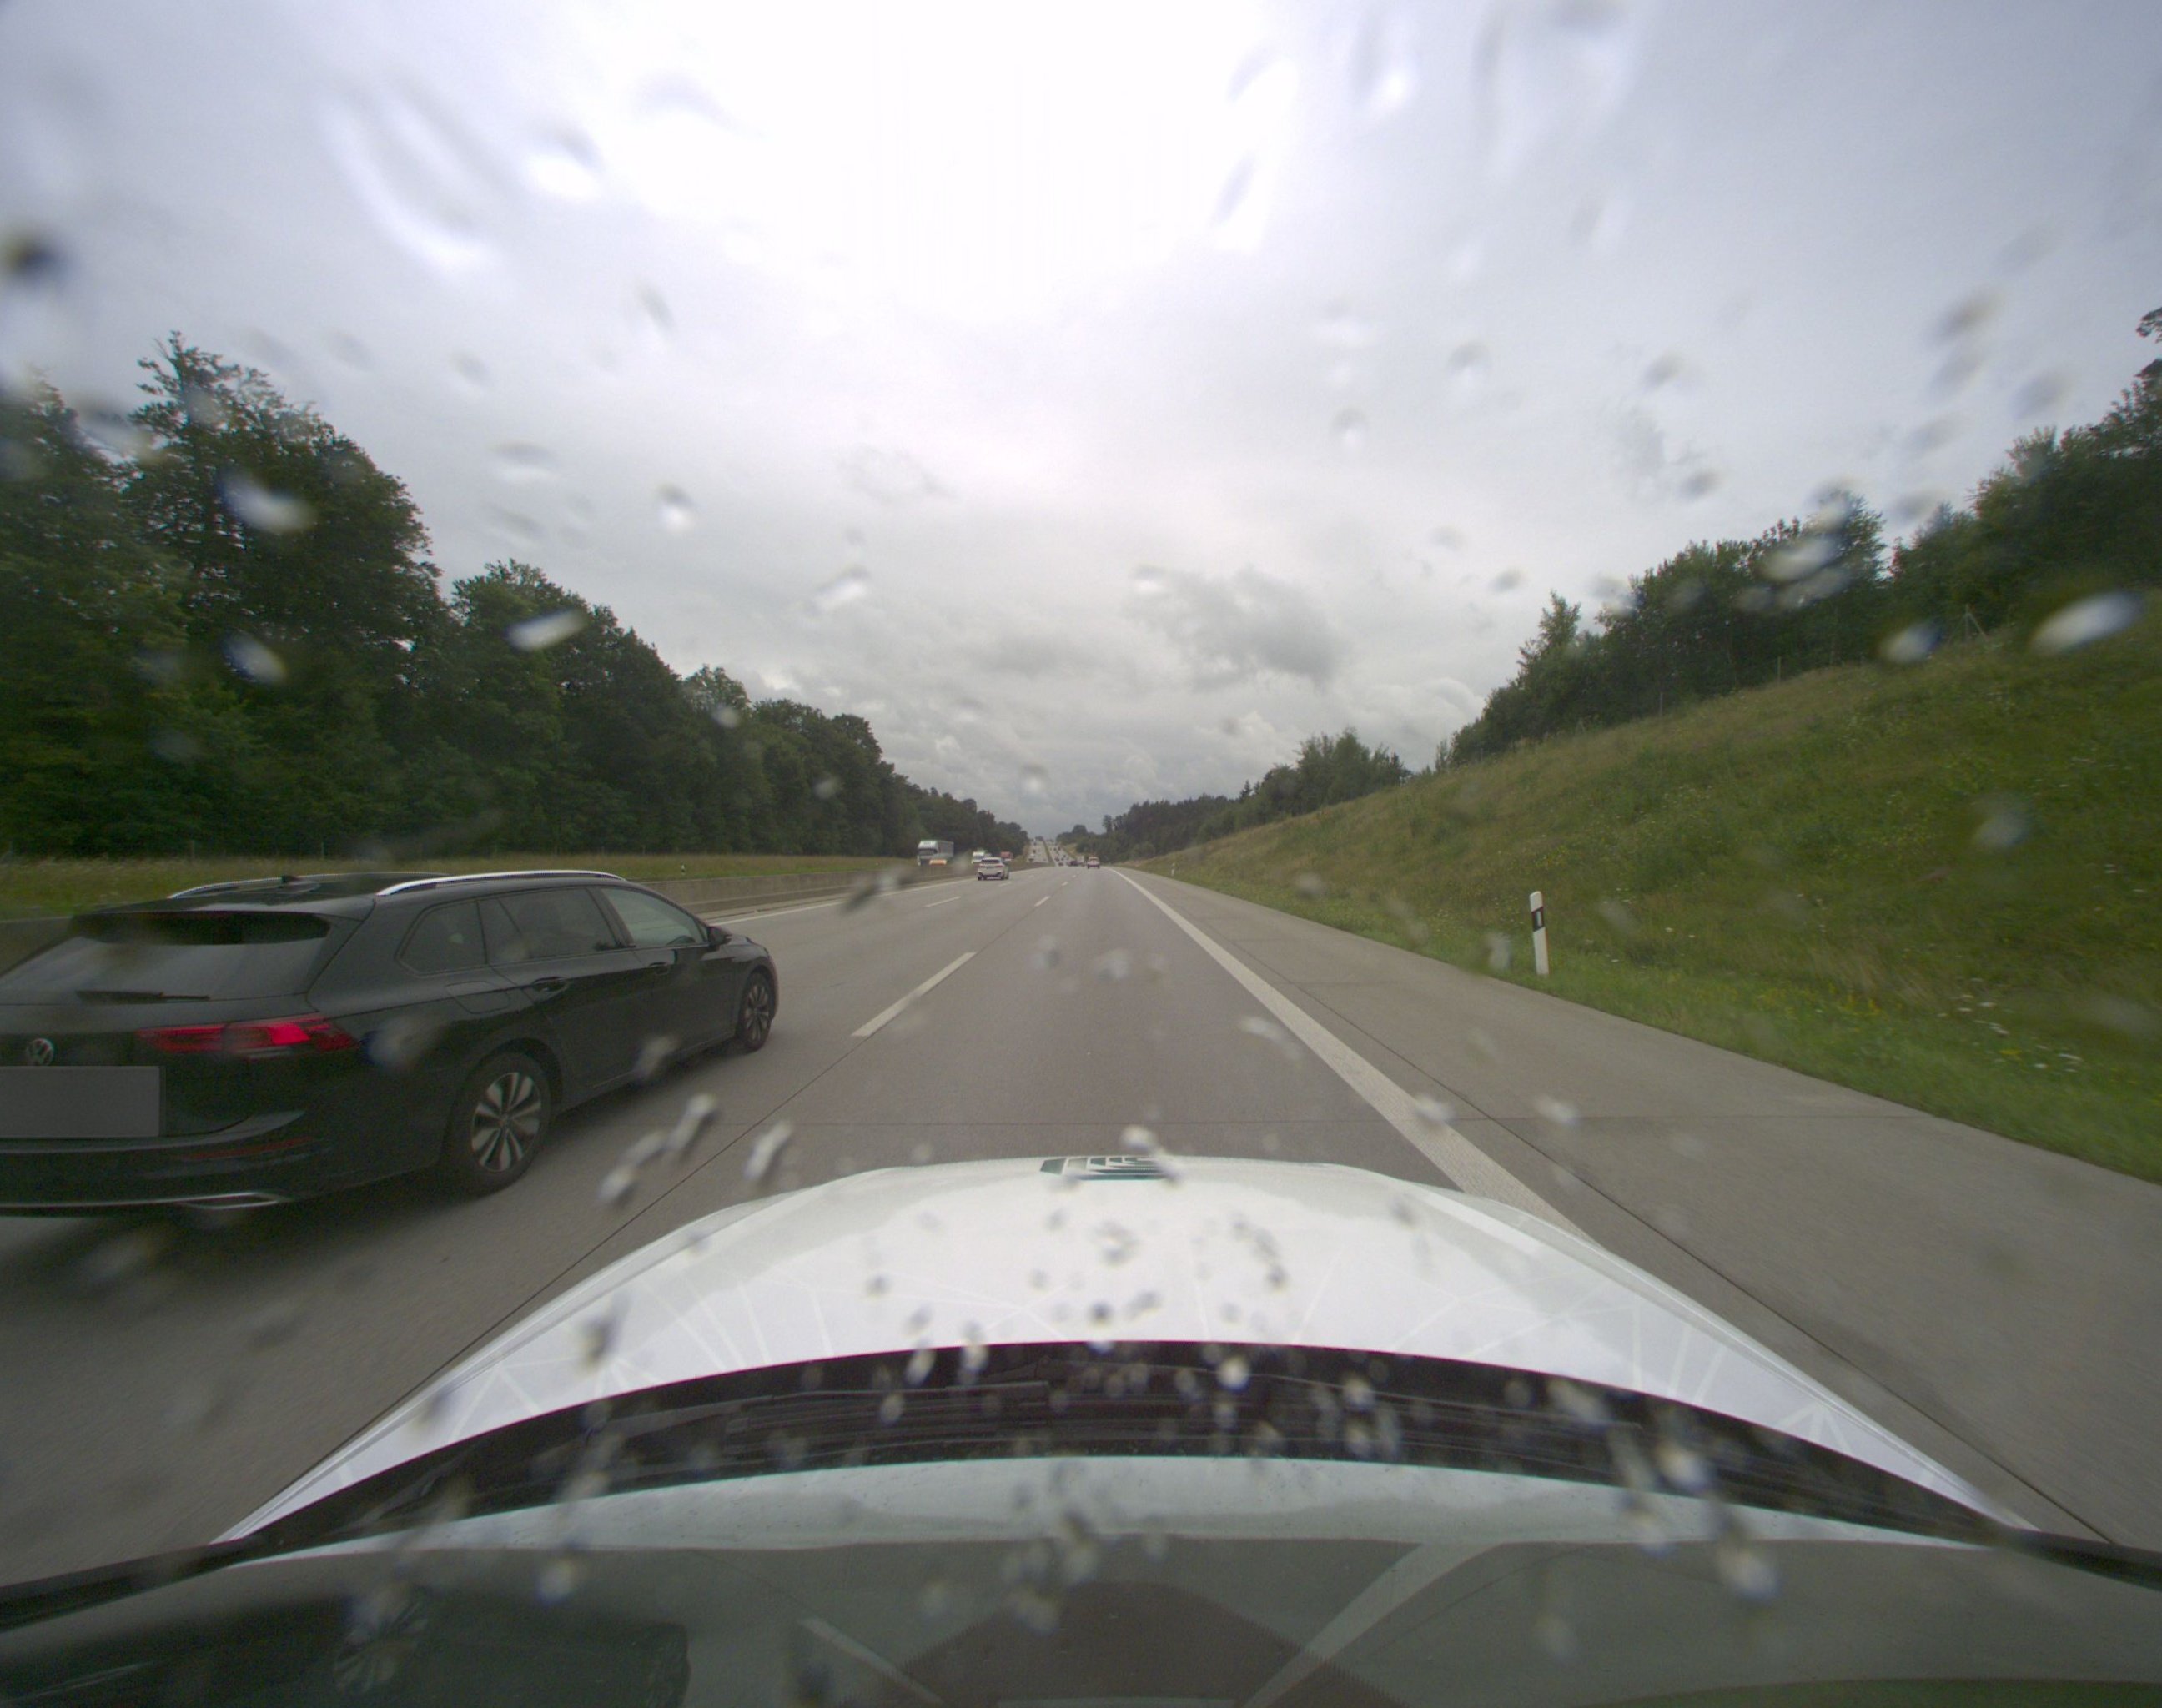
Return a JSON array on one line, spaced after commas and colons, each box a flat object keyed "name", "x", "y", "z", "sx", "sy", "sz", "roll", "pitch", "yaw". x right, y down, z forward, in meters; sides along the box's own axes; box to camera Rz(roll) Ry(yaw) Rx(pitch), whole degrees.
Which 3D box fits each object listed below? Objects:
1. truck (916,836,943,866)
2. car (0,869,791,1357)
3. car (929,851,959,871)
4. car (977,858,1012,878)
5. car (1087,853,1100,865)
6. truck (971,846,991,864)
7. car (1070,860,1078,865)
[{"name": "truck", "x": -21.120, "y": -0.373, "z": 113.903, "sx": 2.500, "sy": 4.125, "sz": 6.462, "roll": 0, "pitch": 0, "yaw": 1}, {"name": "car", "x": -3.471, "y": 0.828, "z": 4.748, "sx": 1.745, "sy": 1.398, "sz": 4.487, "roll": 0, "pitch": 0, "yaw": 3}, {"name": "car", "x": -14.390, "y": 0.734, "z": 85.754, "sx": 2.054, "sy": 2.014, "sz": 5.428, "roll": 0, "pitch": 0, "yaw": 1}, {"name": "car", "x": -6.000, "y": 0.951, "z": 56.745, "sx": 1.941, "sy": 1.356, "sz": 4.259, "roll": 0, "pitch": 0, "yaw": 0}, {"name": "car", "x": 1.816, "y": 0.728, "z": 121.237, "sx": 1.819, "sy": 1.655, "sz": 3.985, "roll": 1, "pitch": 0, "yaw": 0}, {"name": "truck", "x": -16.572, "y": 0.185, "z": 135.005, "sx": 2.259, "sy": 2.788, "sz": 6.513, "roll": 1, "pitch": 0, "yaw": 1}, {"name": "car", "x": -1.961, "y": 2.280, "z": 222.134, "sx": 1.930, "sy": 1.375, "sz": 4.590, "roll": 0, "pitch": 0, "yaw": -2}]
